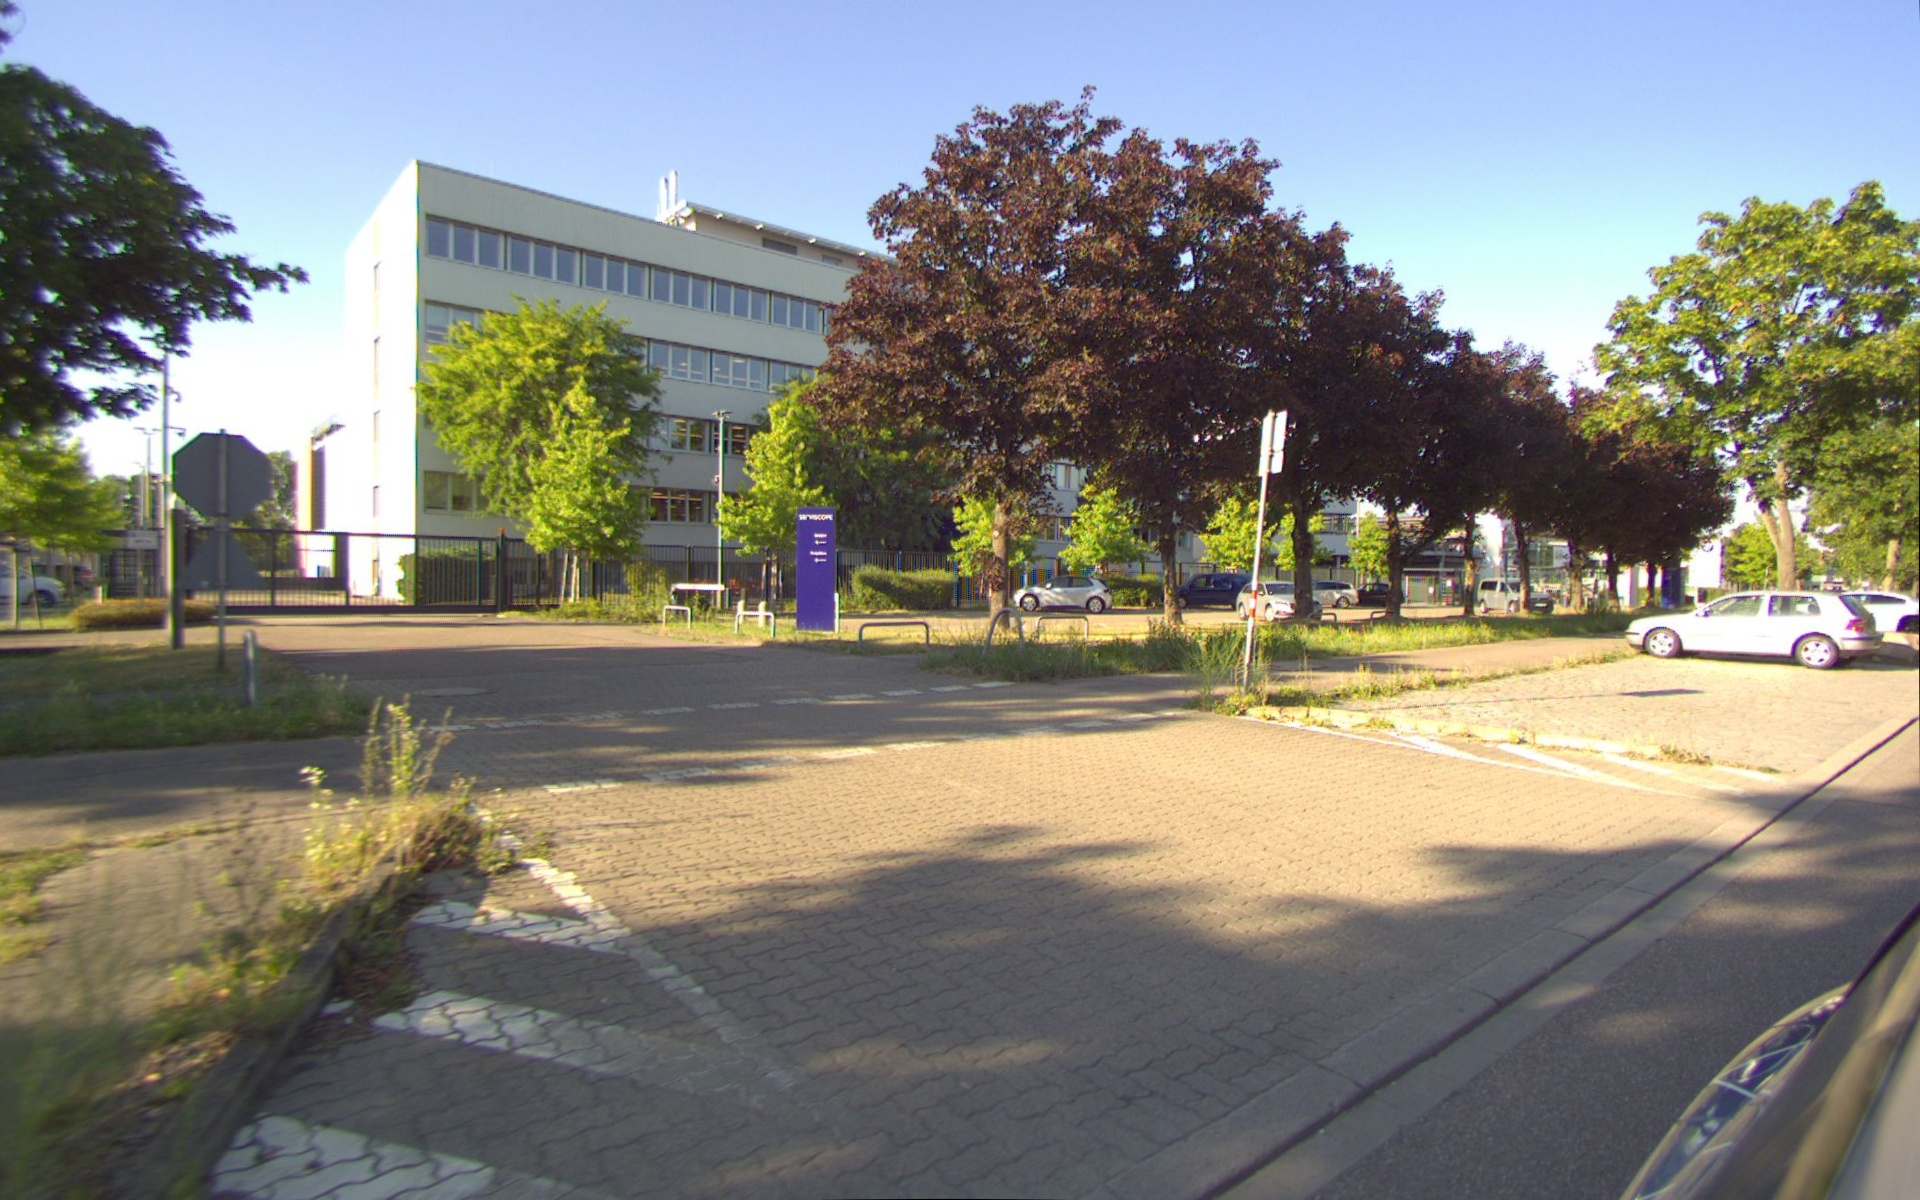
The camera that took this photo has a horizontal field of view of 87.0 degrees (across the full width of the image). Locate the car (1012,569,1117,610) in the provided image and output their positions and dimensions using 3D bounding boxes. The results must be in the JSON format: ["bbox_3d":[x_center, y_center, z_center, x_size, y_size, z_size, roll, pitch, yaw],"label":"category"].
[{"bbox_3d":[4.362,-0.449,42.204,4.232,1.546,1.764,1,1,8],"label":"car"}]

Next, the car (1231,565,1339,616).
[{"bbox_3d":[11.497,-0.275,36.175,1.960,1.594,4.956,1,-2,-4],"label":"car"}]

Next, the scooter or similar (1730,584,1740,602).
[{"bbox_3d":[57.605,-0.519,75.228,0.519,1.288,1.183,2,1,40],"label":"scooter or similar"}]

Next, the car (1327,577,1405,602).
[{"bbox_3d":[24.333,-0.654,60.761,3.931,1.371,1.804,1,1,6],"label":"car"}]

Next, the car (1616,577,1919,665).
[{"bbox_3d":[16.097,0.318,20.401,1.961,1.497,4.376,0,2,-33],"label":"car"}]

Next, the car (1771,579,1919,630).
[{"bbox_3d":[30.562,0.129,33.861,5.177,1.593,2.123,2,2,45],"label":"car"}]

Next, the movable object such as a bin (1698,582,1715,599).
[{"bbox_3d":[65.633,-0.811,88.983,1.016,1.434,0.850,1,-1,-22],"label":"movable object such as a bin"}]

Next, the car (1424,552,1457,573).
[{"bbox_3d":[53.913,-4.197,113.567,4.130,2.128,1.995,0,-1,-43],"label":"car"}]

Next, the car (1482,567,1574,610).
[{"bbox_3d":[28.054,-0.565,50.165,1.964,1.958,4.950,1,0,3],"label":"car"}]

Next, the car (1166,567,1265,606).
[{"bbox_3d":[12.437,-0.666,49.445,4.417,1.771,1.765,1,1,6],"label":"car"}]

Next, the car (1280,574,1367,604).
[{"bbox_3d":[20.075,-0.615,56.111,4.243,1.547,1.802,1,1,10],"label":"car"}]

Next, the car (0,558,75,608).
[{"bbox_3d":[-30.346,-0.546,31.809,3.760,1.549,1.620,0,1,-41],"label":"car"}]
